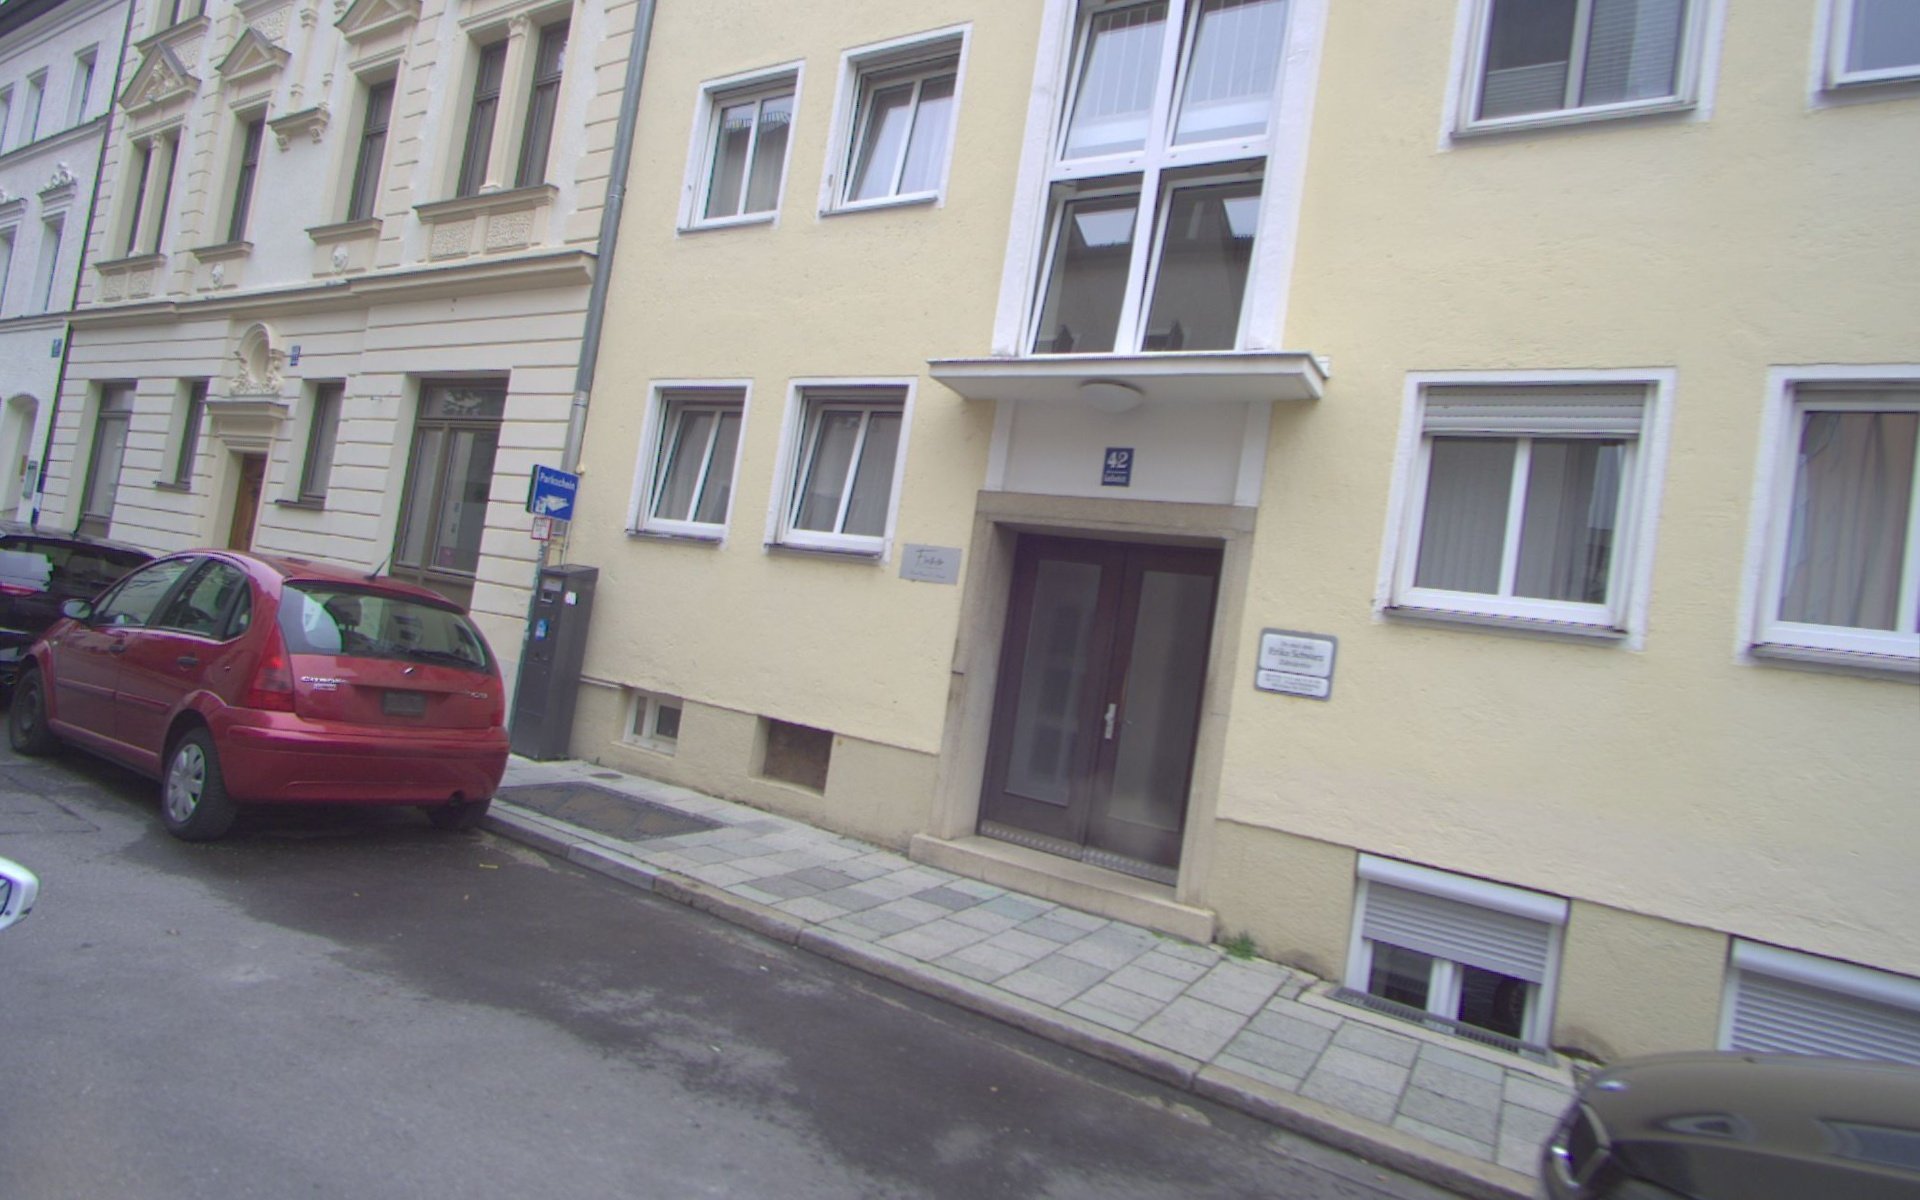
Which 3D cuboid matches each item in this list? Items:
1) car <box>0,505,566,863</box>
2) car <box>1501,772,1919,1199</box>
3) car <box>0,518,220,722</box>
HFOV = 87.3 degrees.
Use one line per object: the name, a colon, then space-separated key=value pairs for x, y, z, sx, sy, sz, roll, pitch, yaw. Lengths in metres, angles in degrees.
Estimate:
car: x=-4.580 y=0.413 z=6.495 sx=3.789 sy=1.508 sz=1.681 roll=7 pitch=-3 yaw=32
car: x=3.329 y=1.390 z=1.426 sx=4.433 sy=1.346 sz=1.834 roll=7 pitch=-7 yaw=31
car: x=-8.459 y=0.001 z=8.802 sx=3.998 sy=1.407 sz=1.681 roll=7 pitch=-4 yaw=32
